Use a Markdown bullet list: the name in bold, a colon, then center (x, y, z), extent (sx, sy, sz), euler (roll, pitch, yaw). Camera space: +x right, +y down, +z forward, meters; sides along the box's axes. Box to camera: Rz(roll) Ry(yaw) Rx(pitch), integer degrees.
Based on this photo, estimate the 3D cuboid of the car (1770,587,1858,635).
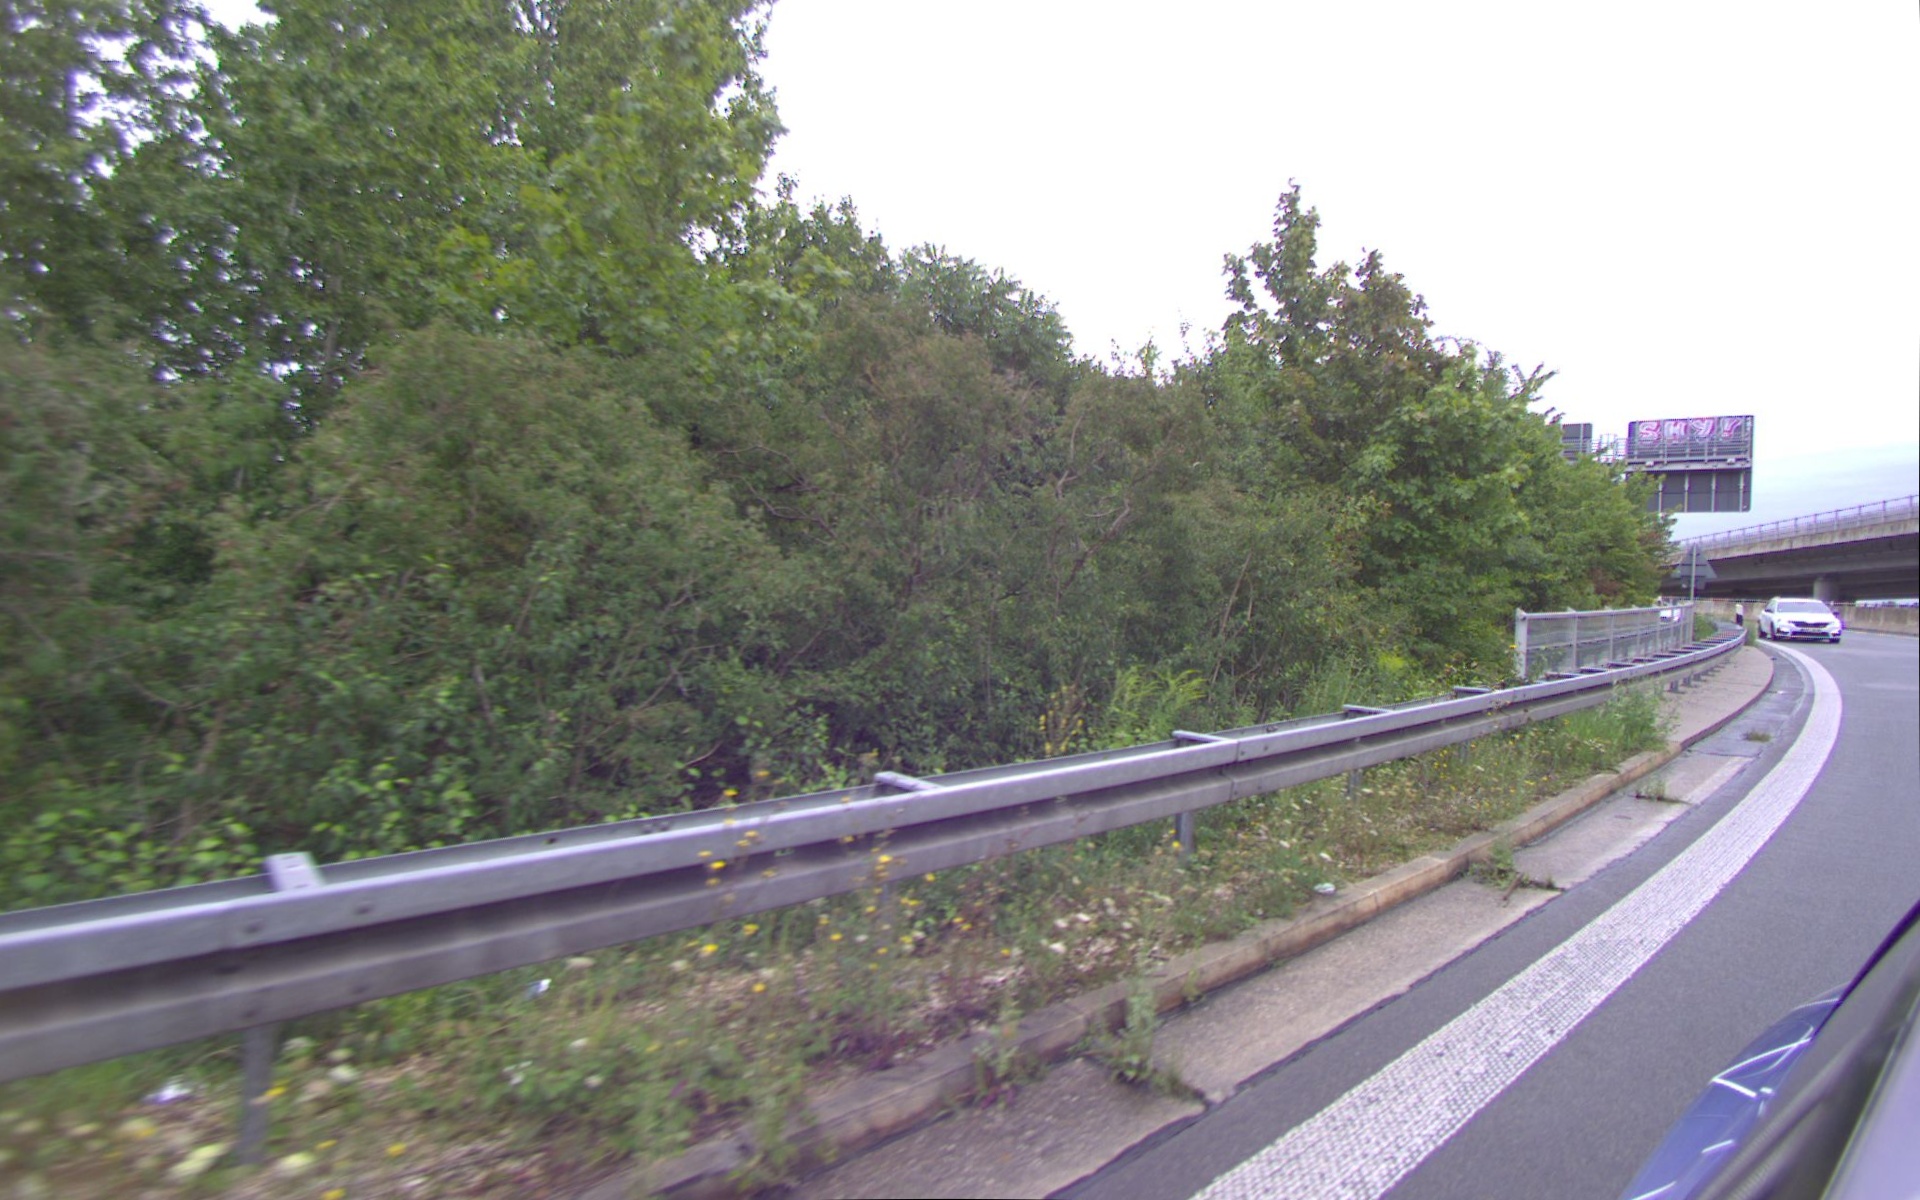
- **car**: center (28.889, 0.387, 34.370), extent (1.905, 1.466, 4.496), euler (2, 0, 36)
